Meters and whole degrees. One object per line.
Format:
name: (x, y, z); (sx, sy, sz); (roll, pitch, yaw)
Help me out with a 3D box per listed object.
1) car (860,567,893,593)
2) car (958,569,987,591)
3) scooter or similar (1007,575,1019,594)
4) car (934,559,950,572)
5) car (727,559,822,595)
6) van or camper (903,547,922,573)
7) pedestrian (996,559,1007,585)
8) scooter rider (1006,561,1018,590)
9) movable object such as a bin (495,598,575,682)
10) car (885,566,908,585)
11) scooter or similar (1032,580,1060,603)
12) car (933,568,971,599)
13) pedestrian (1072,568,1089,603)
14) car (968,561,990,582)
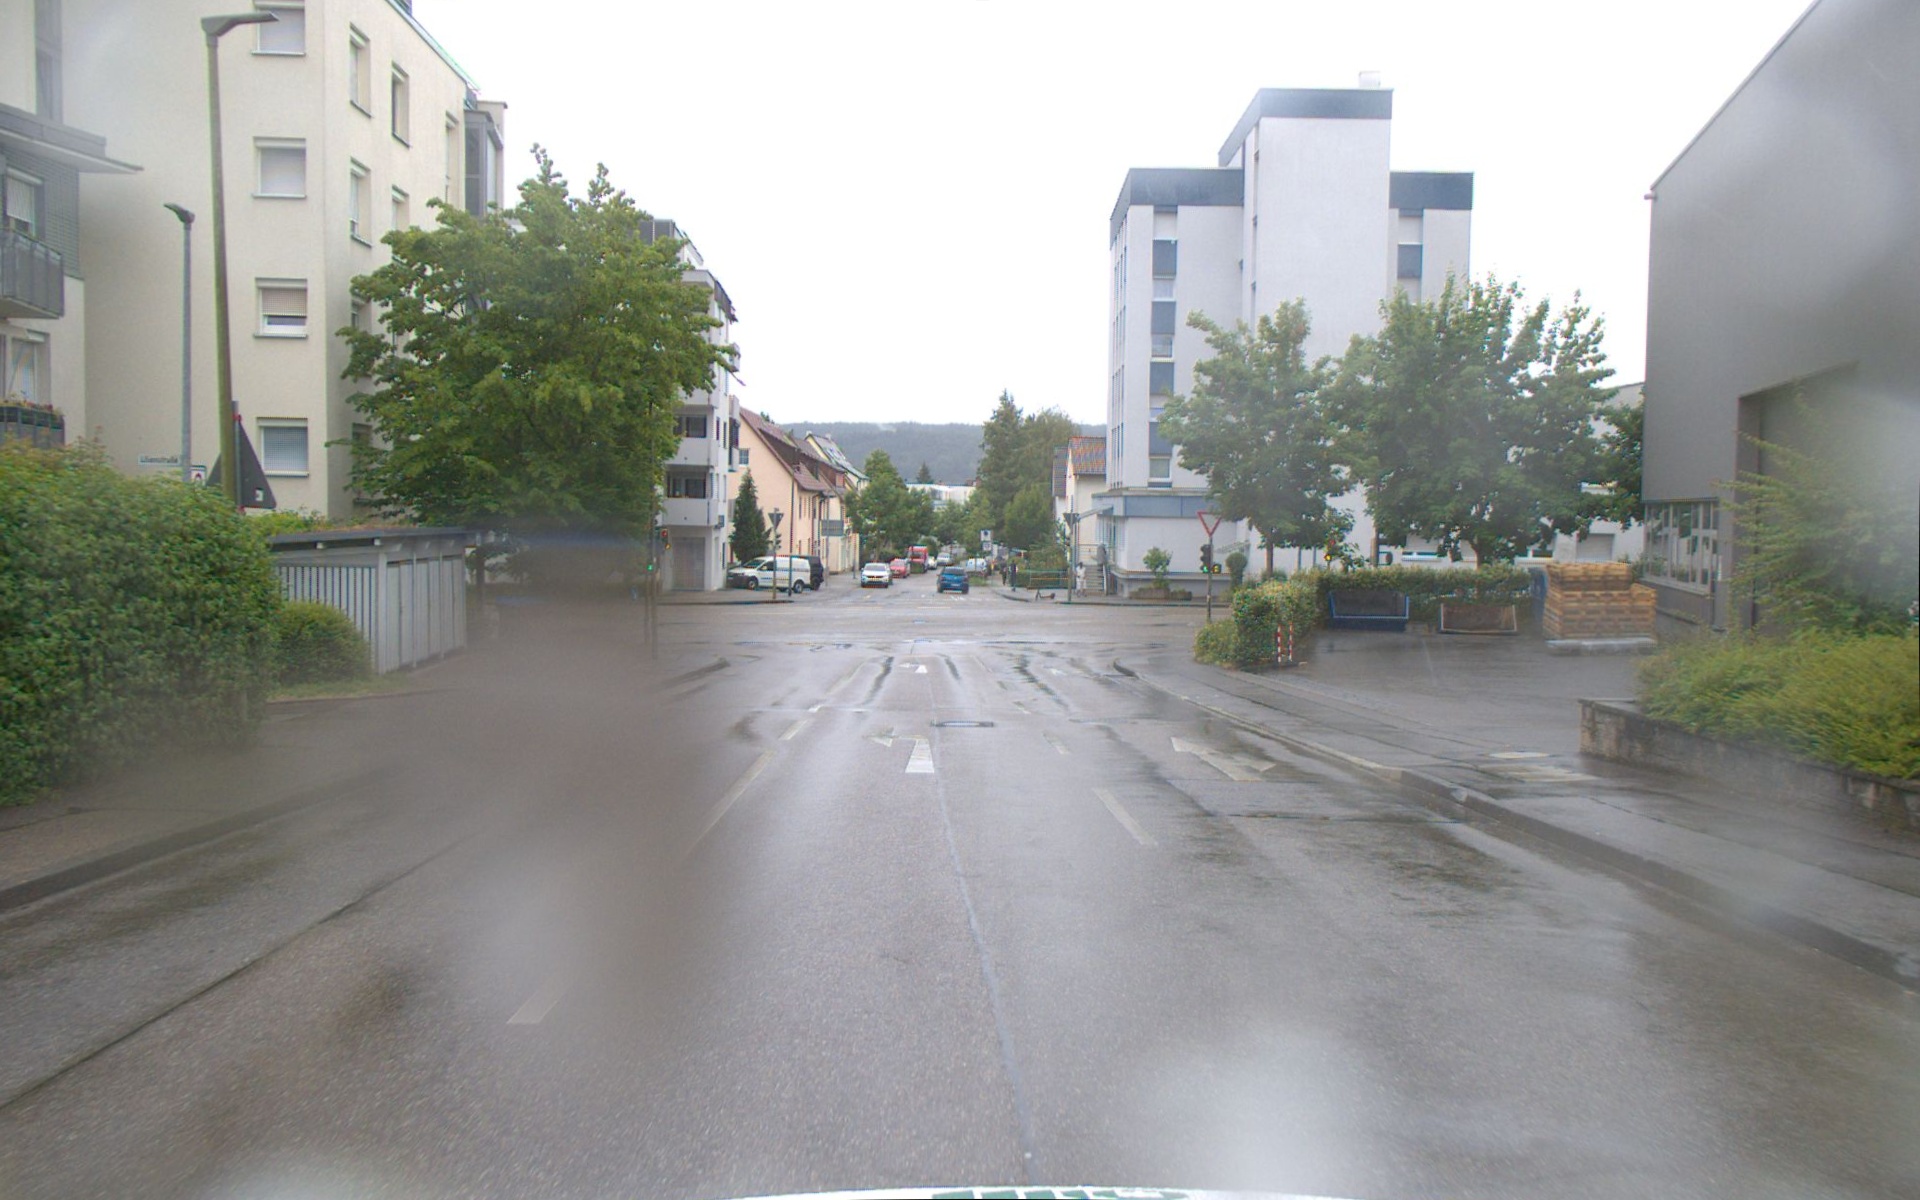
car: (-5.464, -1.320, 108.937); (1.953, 1.654, 4.192); (0, 1, 0)
car: (0.933, -1.504, 122.721); (2.102, 1.617, 4.128); (0, 1, 0)
scooter or similar: (3.305, -0.987, 103.684); (0.741, 1.192, 1.314); (0, 1, 1)
car: (-2.153, -4.085, 195.683); (1.862, 1.586, 4.192); (0, 1, 0)
car: (-9.942, -1.248, 88.757); (4.797, 1.867, 1.972); (-1, 1, -39)
van or camper: (-4.809, -4.076, 167.995); (1.862, 2.557, 4.239); (0, 1, 0)
pedestrian: (3.106, -2.112, 123.783); (0.731, 1.881, 0.526); (3, 0, -3)
scooter rider: (3.283, -1.540, 103.634); (0.736, 1.827, 0.673); (0, 1, 2)
movable object such as a bin: (-7.331, 0.673, 28.596); (1.050, 1.371, 1.318); (2, 0, -3)
car: (-5.548, -2.185, 145.396); (1.862, 1.586, 4.192); (0, 1, 0)
scooter or similar: (4.149, -0.407, 79.745); (1.243, 1.100, 0.875); (-1, 1, -5)
car: (-0.490, -0.982, 97.177); (1.955, 1.713, 3.996); (-1, 1, -5)
pedestrian: (5.899, -0.729, 80.977); (0.635, 1.676, 0.525); (3, 0, -7)
car: (1.647, -2.487, 144.681); (1.862, 1.775, 4.192); (0, 1, 0)
